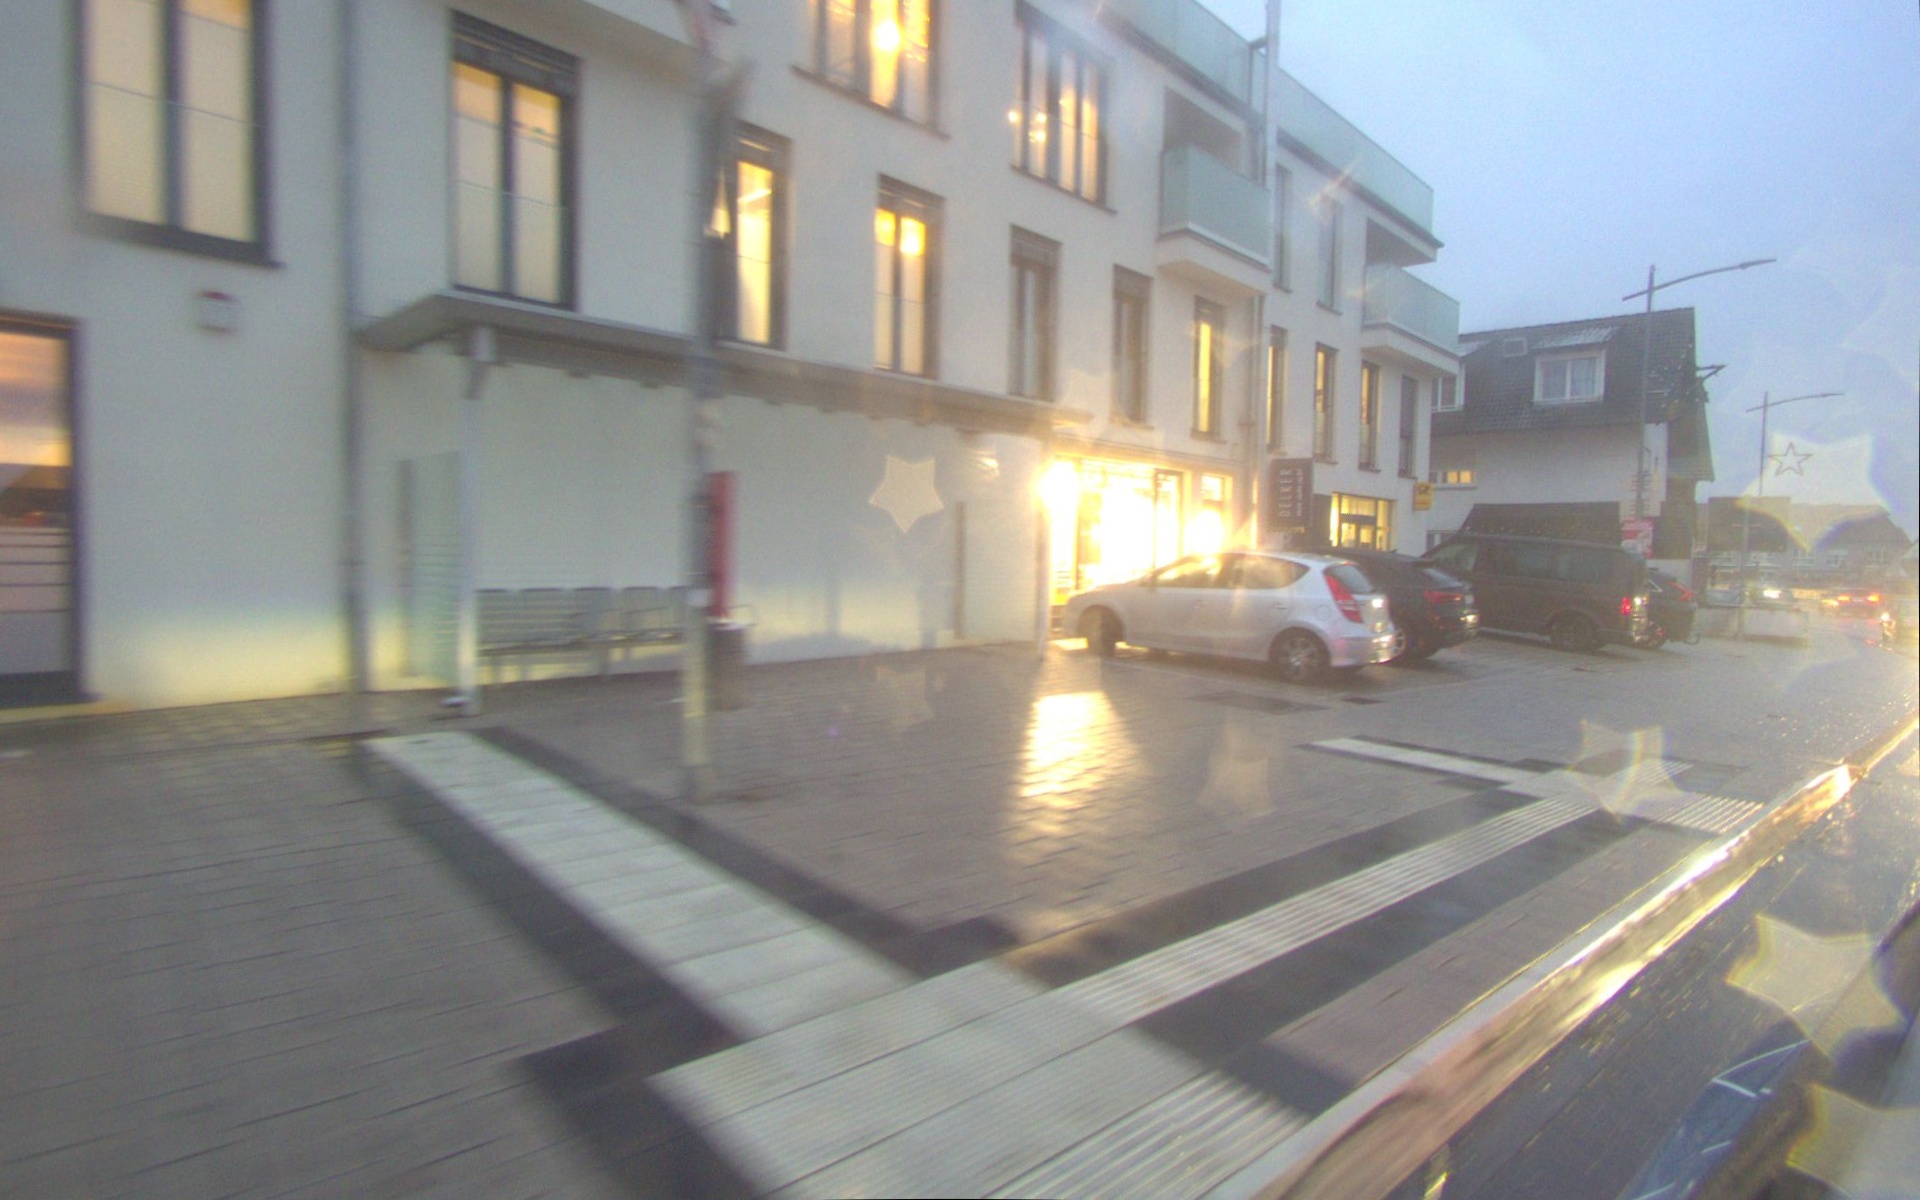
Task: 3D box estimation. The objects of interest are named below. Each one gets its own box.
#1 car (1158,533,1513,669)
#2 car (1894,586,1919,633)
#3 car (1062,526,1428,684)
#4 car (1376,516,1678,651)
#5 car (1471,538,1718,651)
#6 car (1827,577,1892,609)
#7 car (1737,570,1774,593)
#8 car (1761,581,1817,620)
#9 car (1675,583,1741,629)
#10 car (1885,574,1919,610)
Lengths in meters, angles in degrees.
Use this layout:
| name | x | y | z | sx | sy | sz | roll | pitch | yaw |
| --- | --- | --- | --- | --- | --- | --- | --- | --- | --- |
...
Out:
| name | x | y | z | sx | sy | sz | roll | pitch | yaw |
| --- | --- | --- | --- | --- | --- | --- | --- | --- | --- |
| car | 5.448 | -0.111 | 15.076 | 4.510 | 1.509 | 1.945 | 7 | 6 | 43 |
| car | 32.060 | 0.302 | 33.250 | 1.734 | 1.461 | 3.943 | 1 | 1 | 39 |
| car | 3.473 | -0.045 | 12.689 | 3.981 | 1.521 | 1.789 | 6 | 5 | 38 |
| car | 10.690 | -0.394 | 19.323 | 4.544 | 1.956 | 1.944 | 10 | 6 | 43 |
| car | 13.463 | -0.185 | 21.605 | 4.137 | 1.653 | 1.730 | 13 | 8 | 38 |
| car | 49.704 | -0.421 | 55.989 | 1.768 | 1.641 | 3.918 | 3 | 2 | 28 |
| car | 74.712 | -1.757 | 95.074 | 1.982 | 2.038 | 3.962 | 1 | 2 | 28 |
| car | 37.355 | 0.010 | 45.633 | 1.841 | 1.606 | 3.715 | 3 | 2 | 40 |
| car | 27.819 | 0.187 | 37.598 | 1.769 | 1.515 | 3.726 | 5 | 3 | 38 |
| car | 55.691 | -0.493 | 58.733 | 1.982 | 2.038 | 3.962 | 1 | 2 | 28 |
